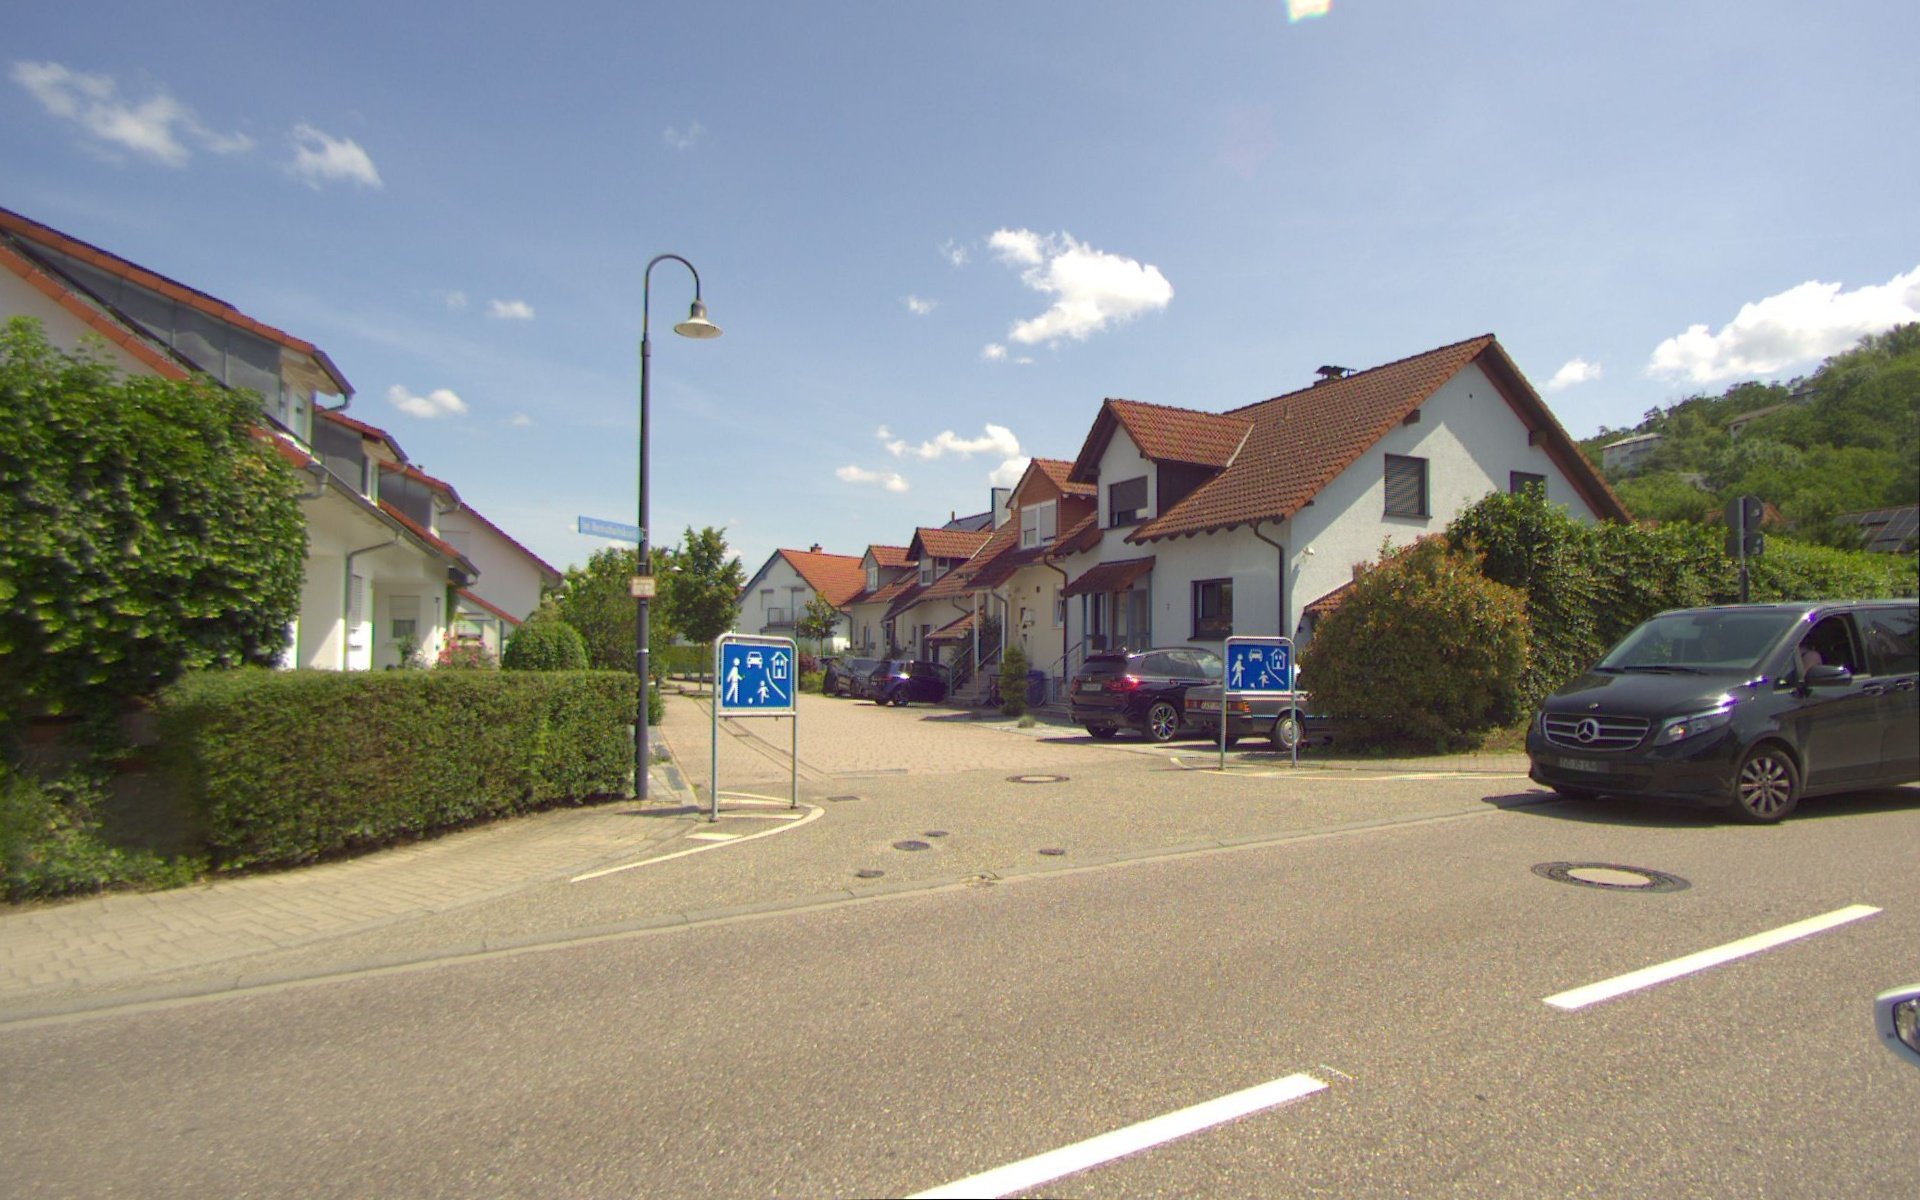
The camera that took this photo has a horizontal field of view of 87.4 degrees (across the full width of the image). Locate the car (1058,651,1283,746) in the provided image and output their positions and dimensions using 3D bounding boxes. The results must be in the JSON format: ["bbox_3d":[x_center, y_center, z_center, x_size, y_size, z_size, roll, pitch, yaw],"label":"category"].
[{"bbox_3d":[3.945,1.762,18.737,3.953,1.570,1.758,1,-4,-30],"label":"car"}]

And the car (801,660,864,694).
[{"bbox_3d":[-5.605,3.313,43.821,1.747,1.407,3.806,1,-3,-24],"label":"car"}]

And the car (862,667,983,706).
[{"bbox_3d":[-1.300,2.932,34.402,3.776,1.200,1.761,1,-3,-26],"label":"car"}]

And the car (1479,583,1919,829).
[{"bbox_3d":[7.652,0.896,9.487,4.991,1.876,1.992,1,-3,-20],"label":"car"}]

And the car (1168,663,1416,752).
[{"bbox_3d":[5.597,1.742,16.861,3.949,1.302,1.655,1,-4,-27],"label":"car"}]
